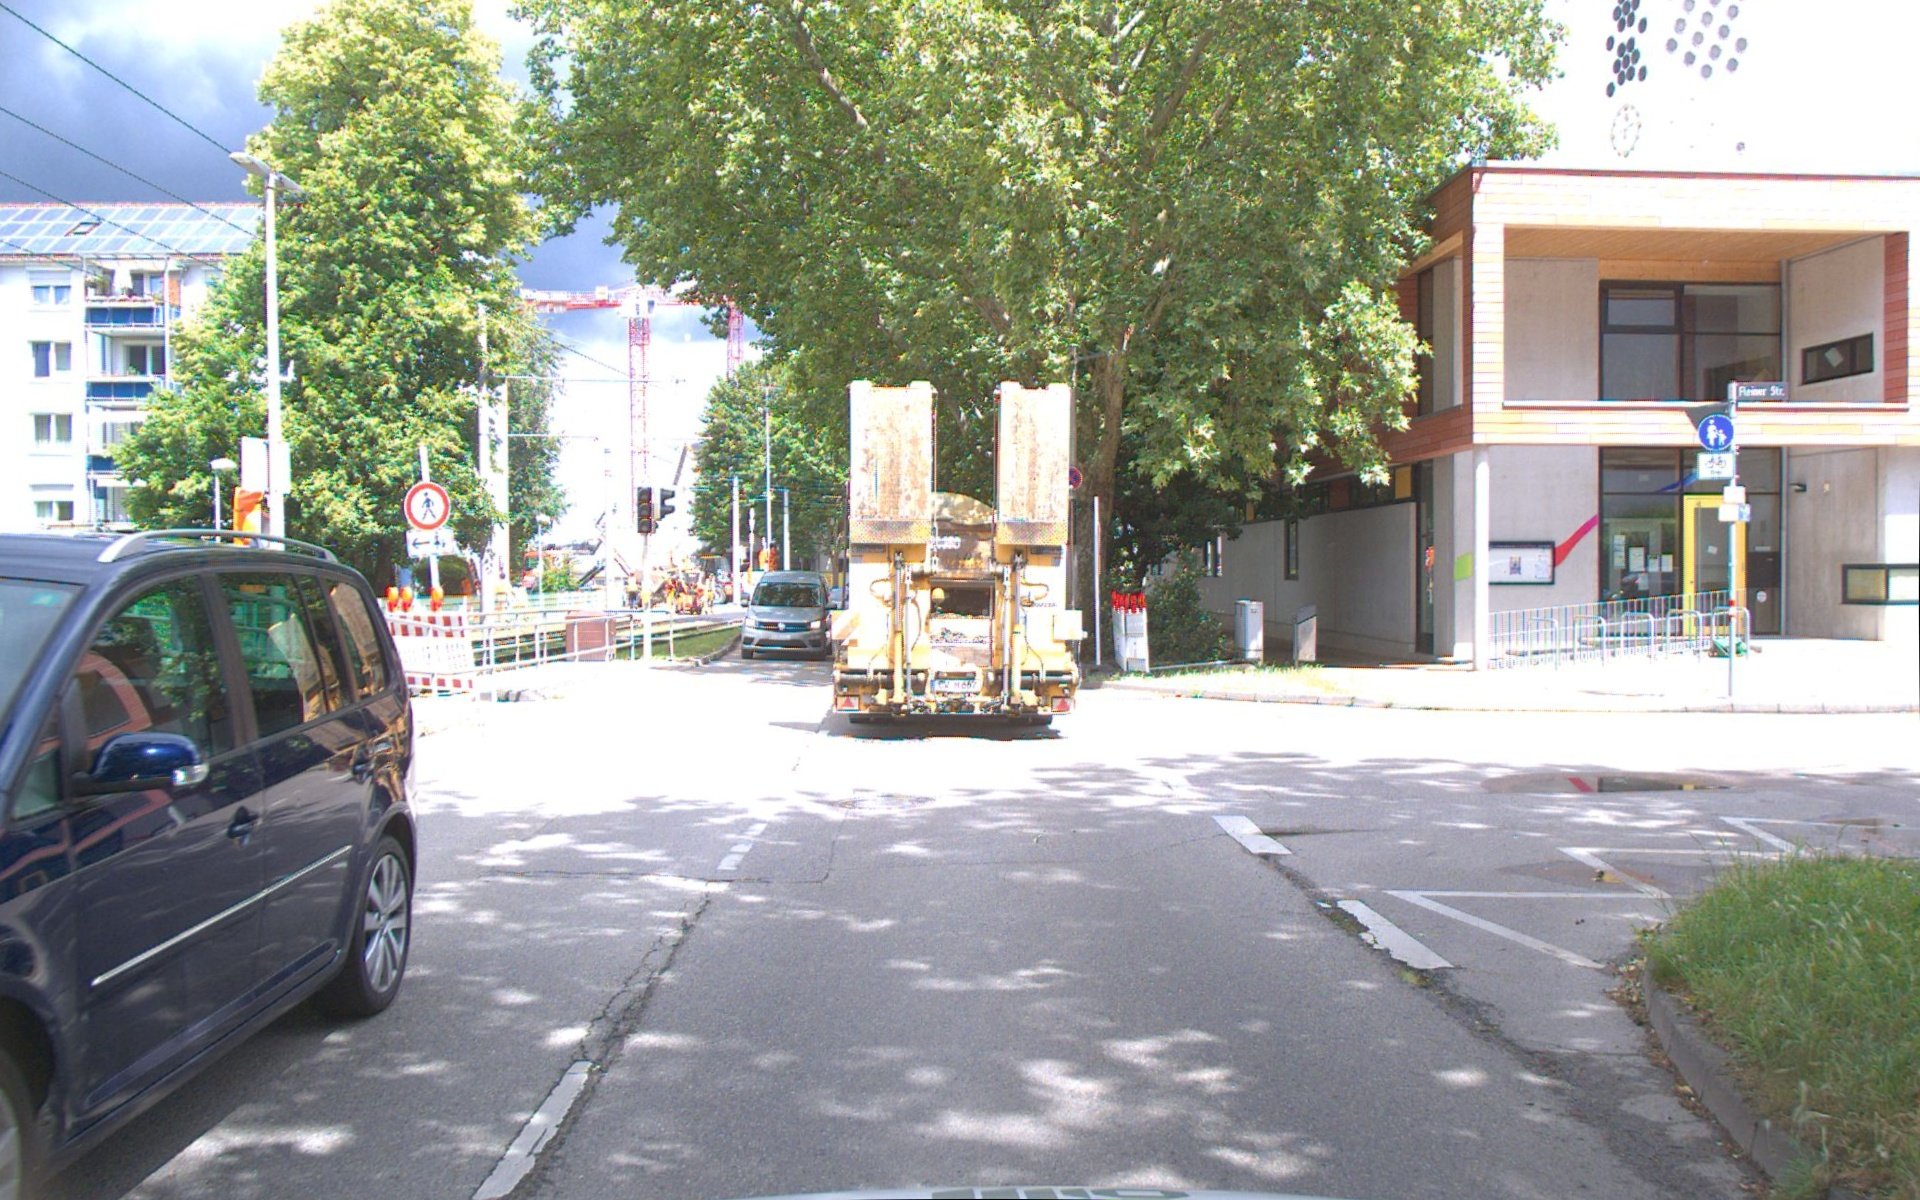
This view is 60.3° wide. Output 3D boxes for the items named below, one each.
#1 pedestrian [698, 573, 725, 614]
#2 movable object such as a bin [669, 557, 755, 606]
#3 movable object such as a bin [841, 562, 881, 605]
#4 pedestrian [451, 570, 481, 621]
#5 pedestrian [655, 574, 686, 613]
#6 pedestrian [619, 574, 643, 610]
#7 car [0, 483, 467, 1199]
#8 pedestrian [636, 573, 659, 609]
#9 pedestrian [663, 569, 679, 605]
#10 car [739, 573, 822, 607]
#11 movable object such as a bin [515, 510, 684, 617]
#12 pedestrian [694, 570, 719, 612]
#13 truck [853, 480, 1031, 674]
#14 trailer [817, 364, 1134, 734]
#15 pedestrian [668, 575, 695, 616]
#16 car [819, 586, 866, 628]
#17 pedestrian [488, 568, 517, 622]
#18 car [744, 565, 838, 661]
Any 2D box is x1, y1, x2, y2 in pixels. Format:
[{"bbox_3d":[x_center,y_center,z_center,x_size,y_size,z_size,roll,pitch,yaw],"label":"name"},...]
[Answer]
[{"bbox_3d":[-11.615,-0.293,77.323,0.868,1.900,0.836,1,0,28],"label":"pedestrian"},{"bbox_3d":[-13.849,-1.021,92.453,4.280,2.675,2.218,1,0,25],"label":"movable object such as a bin"},{"bbox_3d":[-4.768,-0.785,80.143,1.369,2.049,2.558,1,0,10],"label":"movable object such as a bin"},{"bbox_3d":[-16.058,-0.148,53.814,0.717,1.654,0.867,0,0,-1],"label":"pedestrian"},{"bbox_3d":[-13.134,-0.279,75.100,0.873,1.745,1.103,1,0,44],"label":"pedestrian"},{"bbox_3d":[-15.441,-0.373,77.623,0.877,1.673,0.890,1,0,-32],"label":"pedestrian"},{"bbox_3d":[-2.731,0.585,4.337,1.718,1.662,4.117,1,0,-2],"label":"car"},{"bbox_3d":[-14.743,-0.446,78.017,0.876,1.673,0.829,1,0,-29],"label":"pedestrian"},{"bbox_3d":[-15.544,-0.701,88.951,0.820,1.900,0.885,1,0,-13],"label":"pedestrian"},{"bbox_3d":[-11.384,-0.642,105.009,5.006,2.139,1.968,0,0,-16],"label":"car"},{"bbox_3d":[-19.243,-1.919,88.050,9.020,5.509,2.662,1,0,26],"label":"movable object such as a bin"},{"bbox_3d":[-11.426,-0.397,74.517,0.876,1.900,0.829,1,0,-30],"label":"pedestrian"},{"bbox_3d":[-0.443,-0.399,31.348,2.929,3.190,7.884,1,0,-2],"label":"truck"},{"bbox_3d":[-0.076,-0.529,21.886,3.091,3.614,11.091,1,0,-3],"label":"trailer"},{"bbox_3d":[-12.320,-0.198,73.190,0.867,1.791,0.837,1,0,19],"label":"pedestrian"},{"bbox_3d":[-4.230,0.224,59.977,1.603,1.460,3.849,0,1,-3],"label":"car"},{"bbox_3d":[-15.045,-0.177,54.388,0.685,1.748,0.867,1,0,-1],"label":"pedestrian"},{"bbox_3d":[-3.550,0.253,35.386,1.718,1.872,4.643,1,0,-3],"label":"car"}]
